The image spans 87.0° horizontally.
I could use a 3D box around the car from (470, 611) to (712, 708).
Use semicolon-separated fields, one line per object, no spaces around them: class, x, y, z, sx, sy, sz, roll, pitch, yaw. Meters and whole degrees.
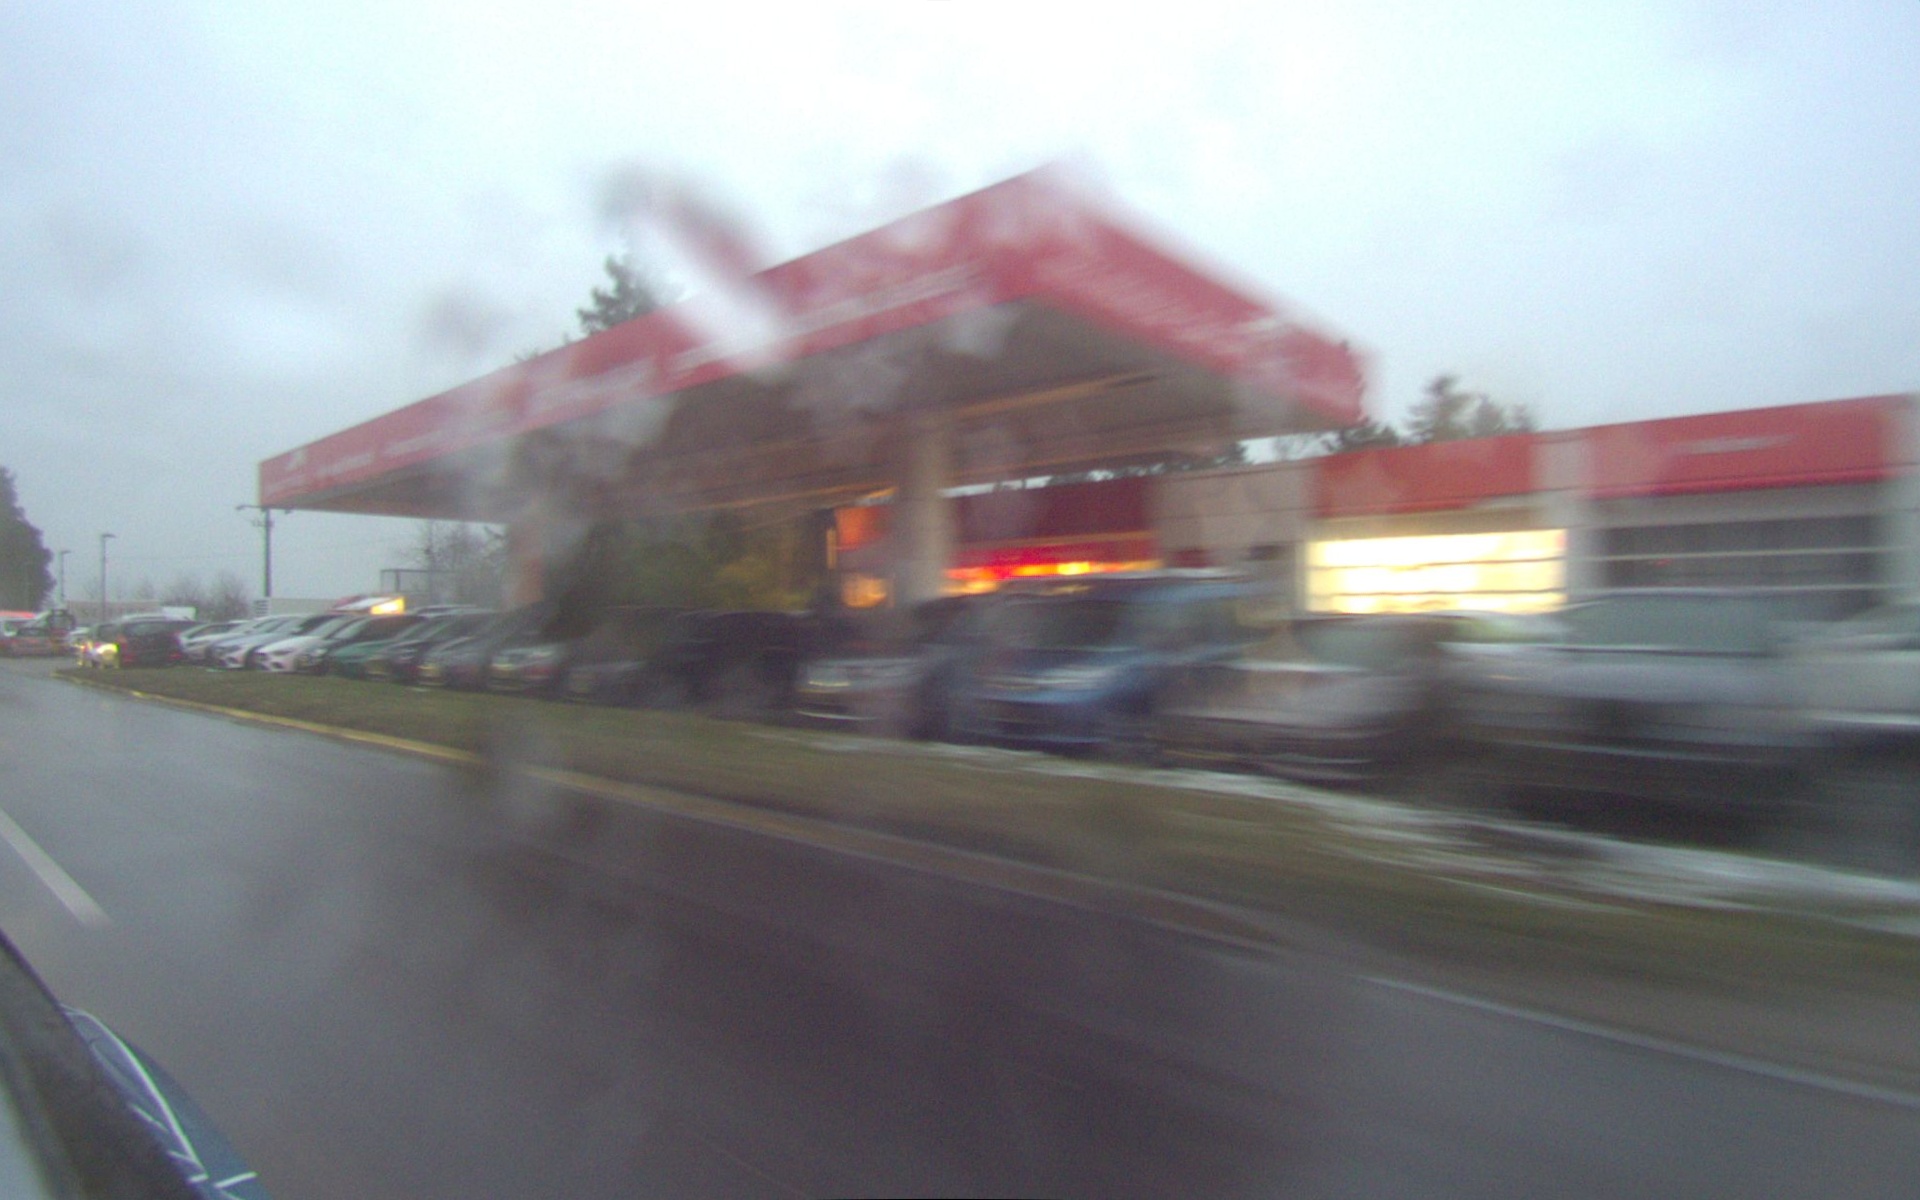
car;-6.715;1.018;18.697;1.838;1.571;3.819;-2;-1;40

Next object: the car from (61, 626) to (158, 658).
car;-49.669;2.437;59.137;2.021;1.746;4.011;-2;-1;37

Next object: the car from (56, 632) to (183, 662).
car;-42.636;2.393;51.426;1.781;1.448;4.709;-2;-3;38

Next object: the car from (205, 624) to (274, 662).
car;-33.126;1.954;46.506;3.702;1.689;1.653;-2;-2;39

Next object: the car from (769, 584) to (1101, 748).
car;-0.166;0.711;13.273;1.999;1.675;4.233;-2;1;41

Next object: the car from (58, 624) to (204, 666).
car;-33.244;1.754;40.673;1.825;1.509;4.291;-2;-1;41

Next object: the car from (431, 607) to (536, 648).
car;-22.096;1.253;47.021;1.957;1.822;3.946;-2;-1;41

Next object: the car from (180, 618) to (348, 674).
car;-20.909;1.330;30.501;1.838;1.463;3.819;-2;0;40

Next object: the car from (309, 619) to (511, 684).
car;-12.905;1.153;23.908;1.838;1.356;3.819;-2;-1;40

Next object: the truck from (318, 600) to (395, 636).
truck;-46.983;1.388;78.875;2.222;2.717;4.683;-2;0;26

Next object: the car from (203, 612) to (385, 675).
car;-18.964;1.197;28.945;1.822;1.566;3.990;-2;-1;40

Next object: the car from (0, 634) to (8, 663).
car;-48.625;2.339;50.137;4.252;1.331;1.554;1;-2;39

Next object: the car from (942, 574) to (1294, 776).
car;1.973;0.669;11.572;1.999;1.777;4.233;-2;1;41

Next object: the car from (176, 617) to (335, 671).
car;-23.261;1.404;33.500;1.941;1.662;4.003;-2;-2;42

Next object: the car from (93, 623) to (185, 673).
car;-25.119;1.436;30.924;3.740;1.431;1.664;-2;-2;43

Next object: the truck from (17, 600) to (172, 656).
truck;-51.639;1.660;60.556;2.332;3.166;6.791;-2;-2;39

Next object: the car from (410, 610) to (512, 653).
car;-23.776;1.468;48.300;1.957;1.937;3.946;-2;-1;41

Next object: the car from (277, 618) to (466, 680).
car;-15.001;1.197;25.932;1.838;1.416;3.819;-2;-1;40

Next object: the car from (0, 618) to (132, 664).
car;-55.140;2.487;62.429;2.193;2.659;5.973;-2;-2;38

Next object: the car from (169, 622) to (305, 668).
car;-26.468;1.616;37.133;1.774;1.470;3.736;-2;0;38

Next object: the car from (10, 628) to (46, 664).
car;-44.834;2.197;48.716;1.157;1.657;2.874;1;-3;-41

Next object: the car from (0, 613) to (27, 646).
car;-64.713;1.920;66.277;2.057;2.167;5.093;-2;-4;40

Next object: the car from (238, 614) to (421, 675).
car;-17.088;1.170;27.555;1.942;1.420;3.819;-2;0;40

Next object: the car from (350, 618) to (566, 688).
car;-10.866;1.093;22.096;1.838;1.356;3.819;-2;-1;40

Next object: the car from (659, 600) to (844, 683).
car;-4.638;0.871;22.236;4.146;1.669;1.869;-2;-1;41

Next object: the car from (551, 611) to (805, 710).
car;-4.693;0.940;17.243;1.838;1.452;3.819;-2;-1;40

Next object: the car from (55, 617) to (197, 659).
car;-36.525;1.651;44.439;2.007;1.689;4.493;-2;-1;36

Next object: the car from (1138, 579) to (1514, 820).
car;3.694;0.717;9.723;1.999;1.675;4.233;-2;1;41

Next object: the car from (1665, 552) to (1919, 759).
car;9.578;0.526;10.102;3.997;1.918;1.973;-1;-1;40

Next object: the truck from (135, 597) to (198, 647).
truck;-57.585;1.677;73.378;5.841;3.481;2.012;-2;-4;37

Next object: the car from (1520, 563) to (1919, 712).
car;10.166;0.446;13.618;4.288;1.675;1.919;-2;1;41

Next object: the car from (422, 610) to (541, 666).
car;-14.691;1.150;30.997;4.043;1.566;1.848;-2;-1;42

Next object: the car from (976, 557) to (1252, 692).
car;2.379;0.380;16.199;3.997;1.883;1.867;-1;-1;40

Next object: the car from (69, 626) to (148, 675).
car;-28.306;1.648;33.628;3.013;1.555;1.502;-2;-3;41

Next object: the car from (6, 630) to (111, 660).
car;-47.486;2.401;53.386;1.809;1.489;3.869;-2;-4;40

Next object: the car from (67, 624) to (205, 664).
car;-34.665;1.820;42.654;1.995;1.509;4.288;-2;-1;43

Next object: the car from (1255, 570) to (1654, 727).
car;6.294;0.546;13.154;4.288;1.675;1.919;-2;1;41

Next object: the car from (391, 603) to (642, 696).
car;-8.846;0.923;20.451;1.979;1.669;4.237;-2;-1;40

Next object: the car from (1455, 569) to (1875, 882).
car;5.653;0.675;7.961;2.135;1.675;4.233;-2;1;41

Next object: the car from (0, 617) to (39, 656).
car;-67.925;2.527;69.914;2.174;2.652;6.093;-2;-3;40

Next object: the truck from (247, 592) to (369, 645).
truck;-57.316;1.558;89.293;2.994;4.293;8.627;-1;0;29
